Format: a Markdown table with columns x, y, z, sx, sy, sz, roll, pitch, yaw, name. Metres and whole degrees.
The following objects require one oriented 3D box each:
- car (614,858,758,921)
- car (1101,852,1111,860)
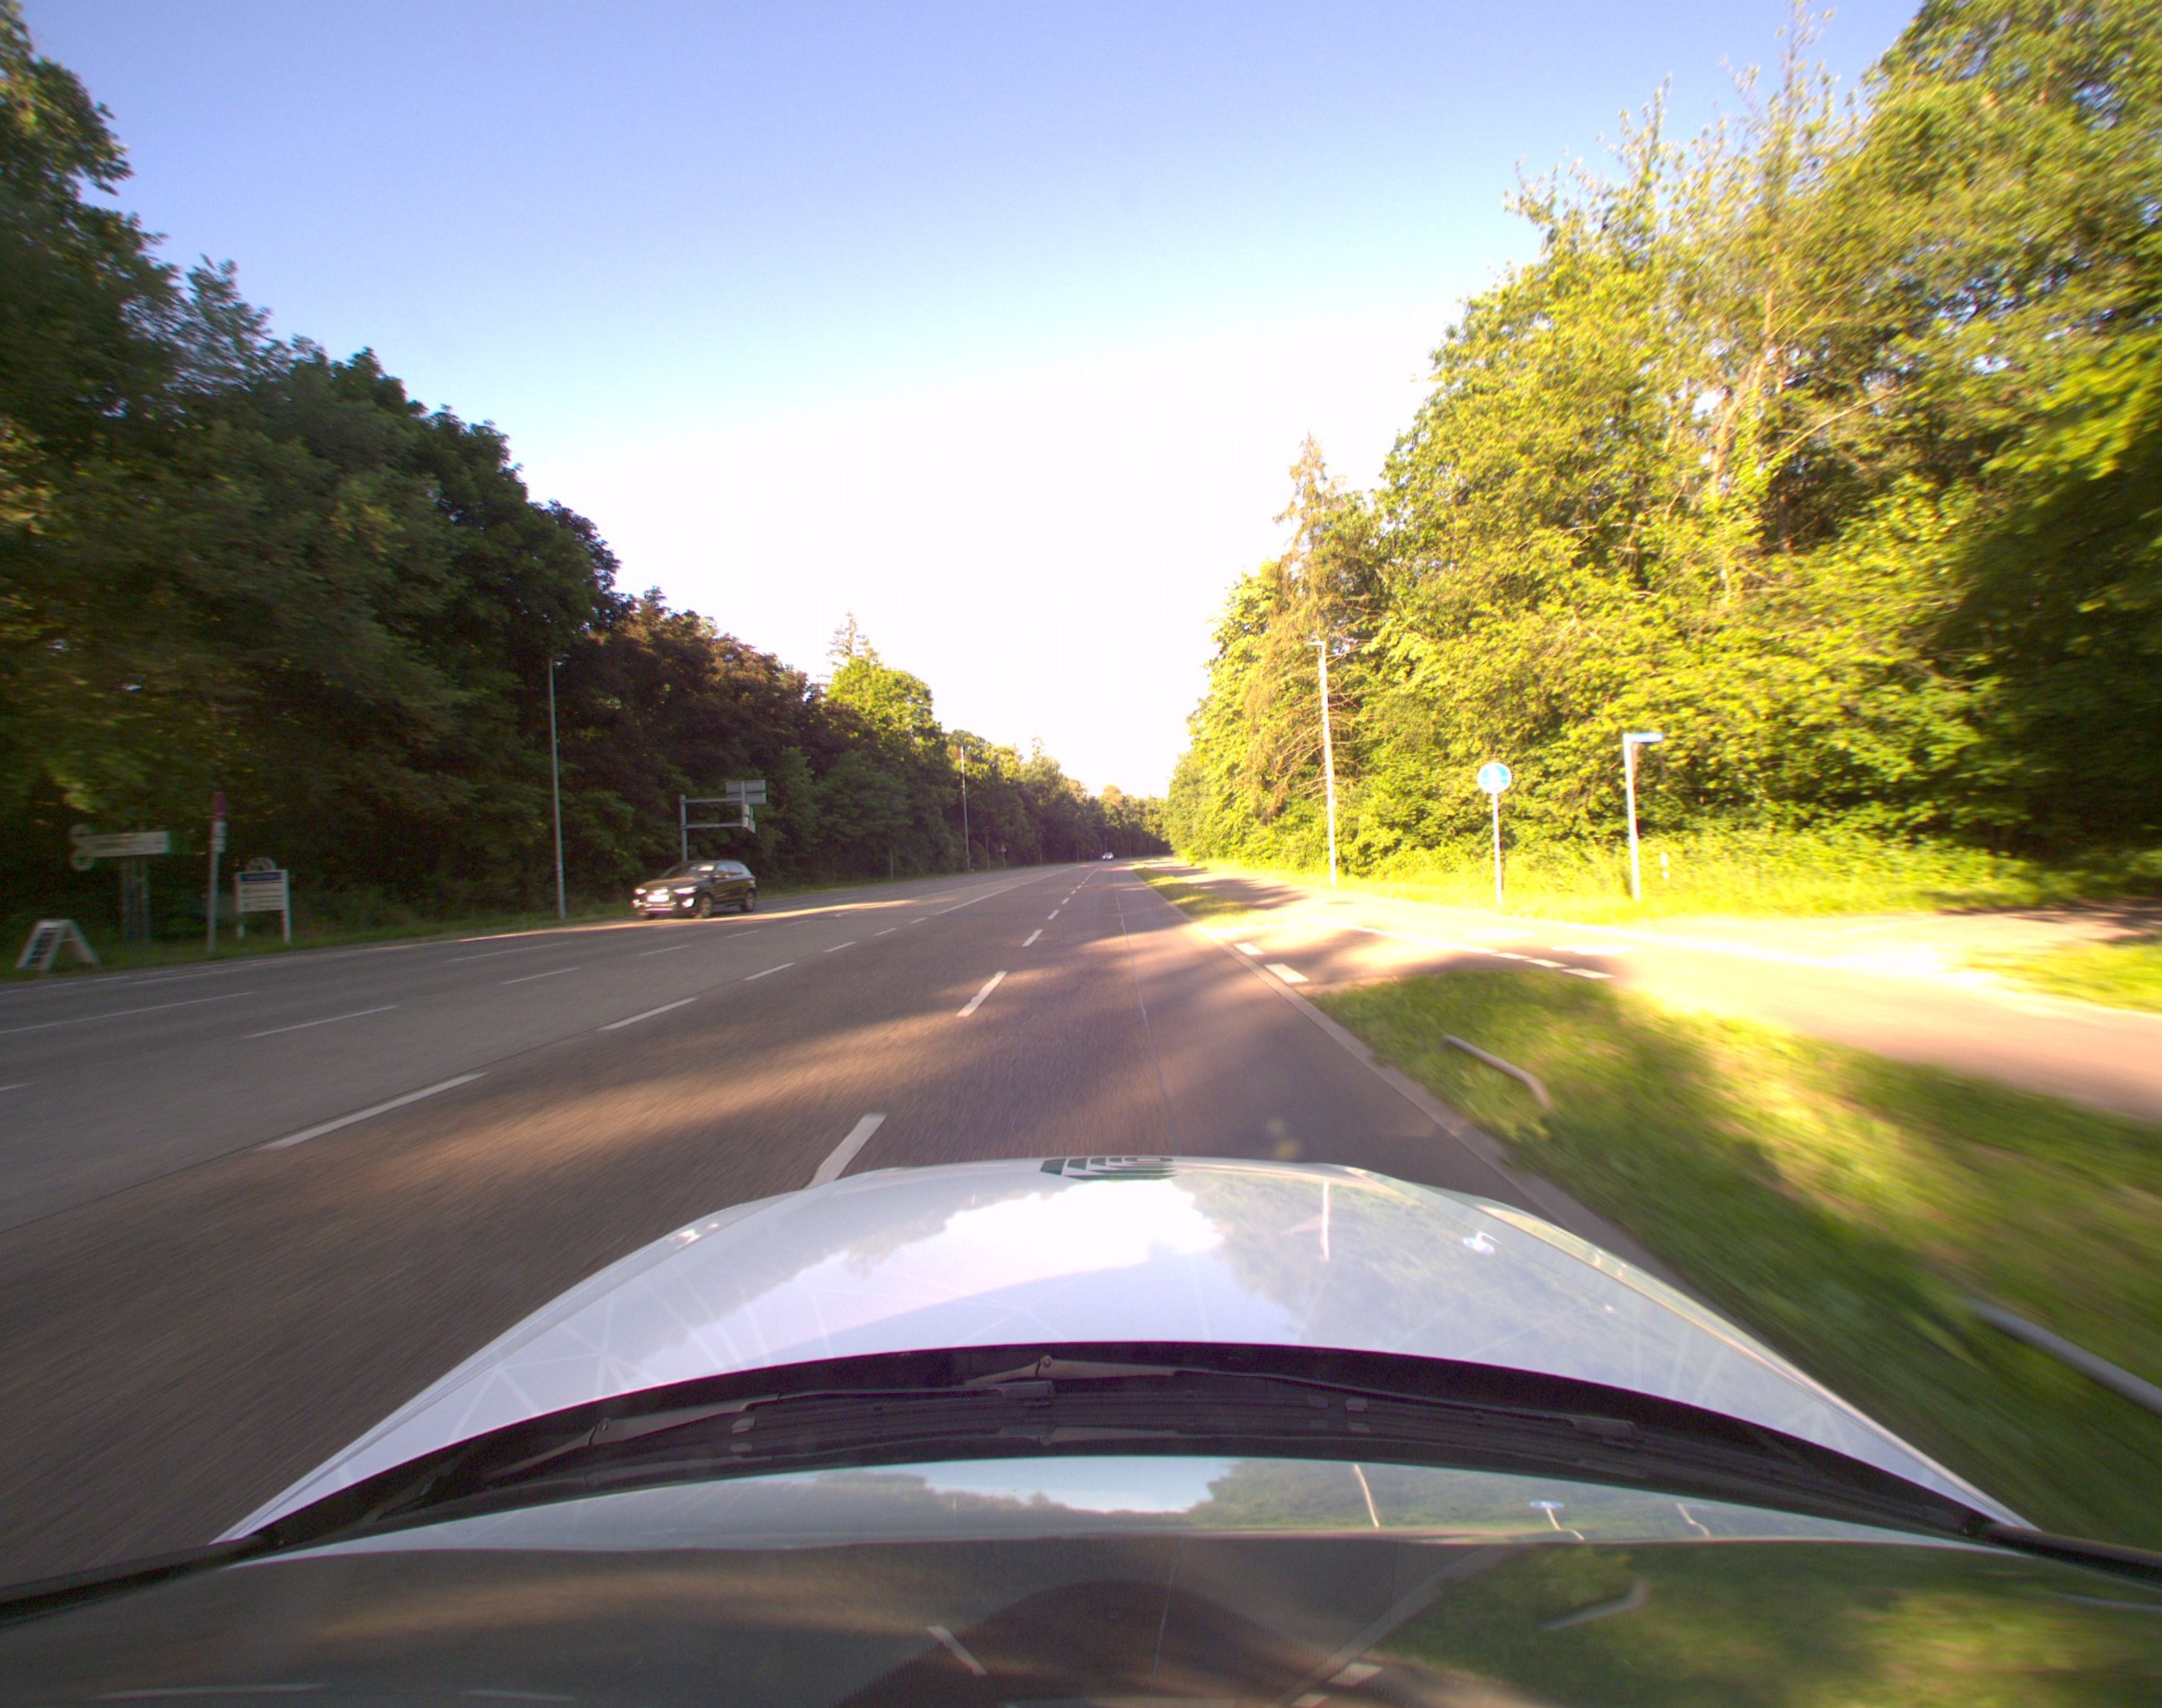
| x | y | z | sx | sy | sz | roll | pitch | yaw | name |
| --- | --- | --- | --- | --- | --- | --- | --- | --- | --- |
| -11.096 | 0.930 | 23.265 | 1.818 | 1.589 | 4.353 | -1 | 0 | 2 | car |
| 5.431 | 0.368 | 175.514 | 1.900 | 1.664 | 4.736 | -2 | 0 | 2 | car |
